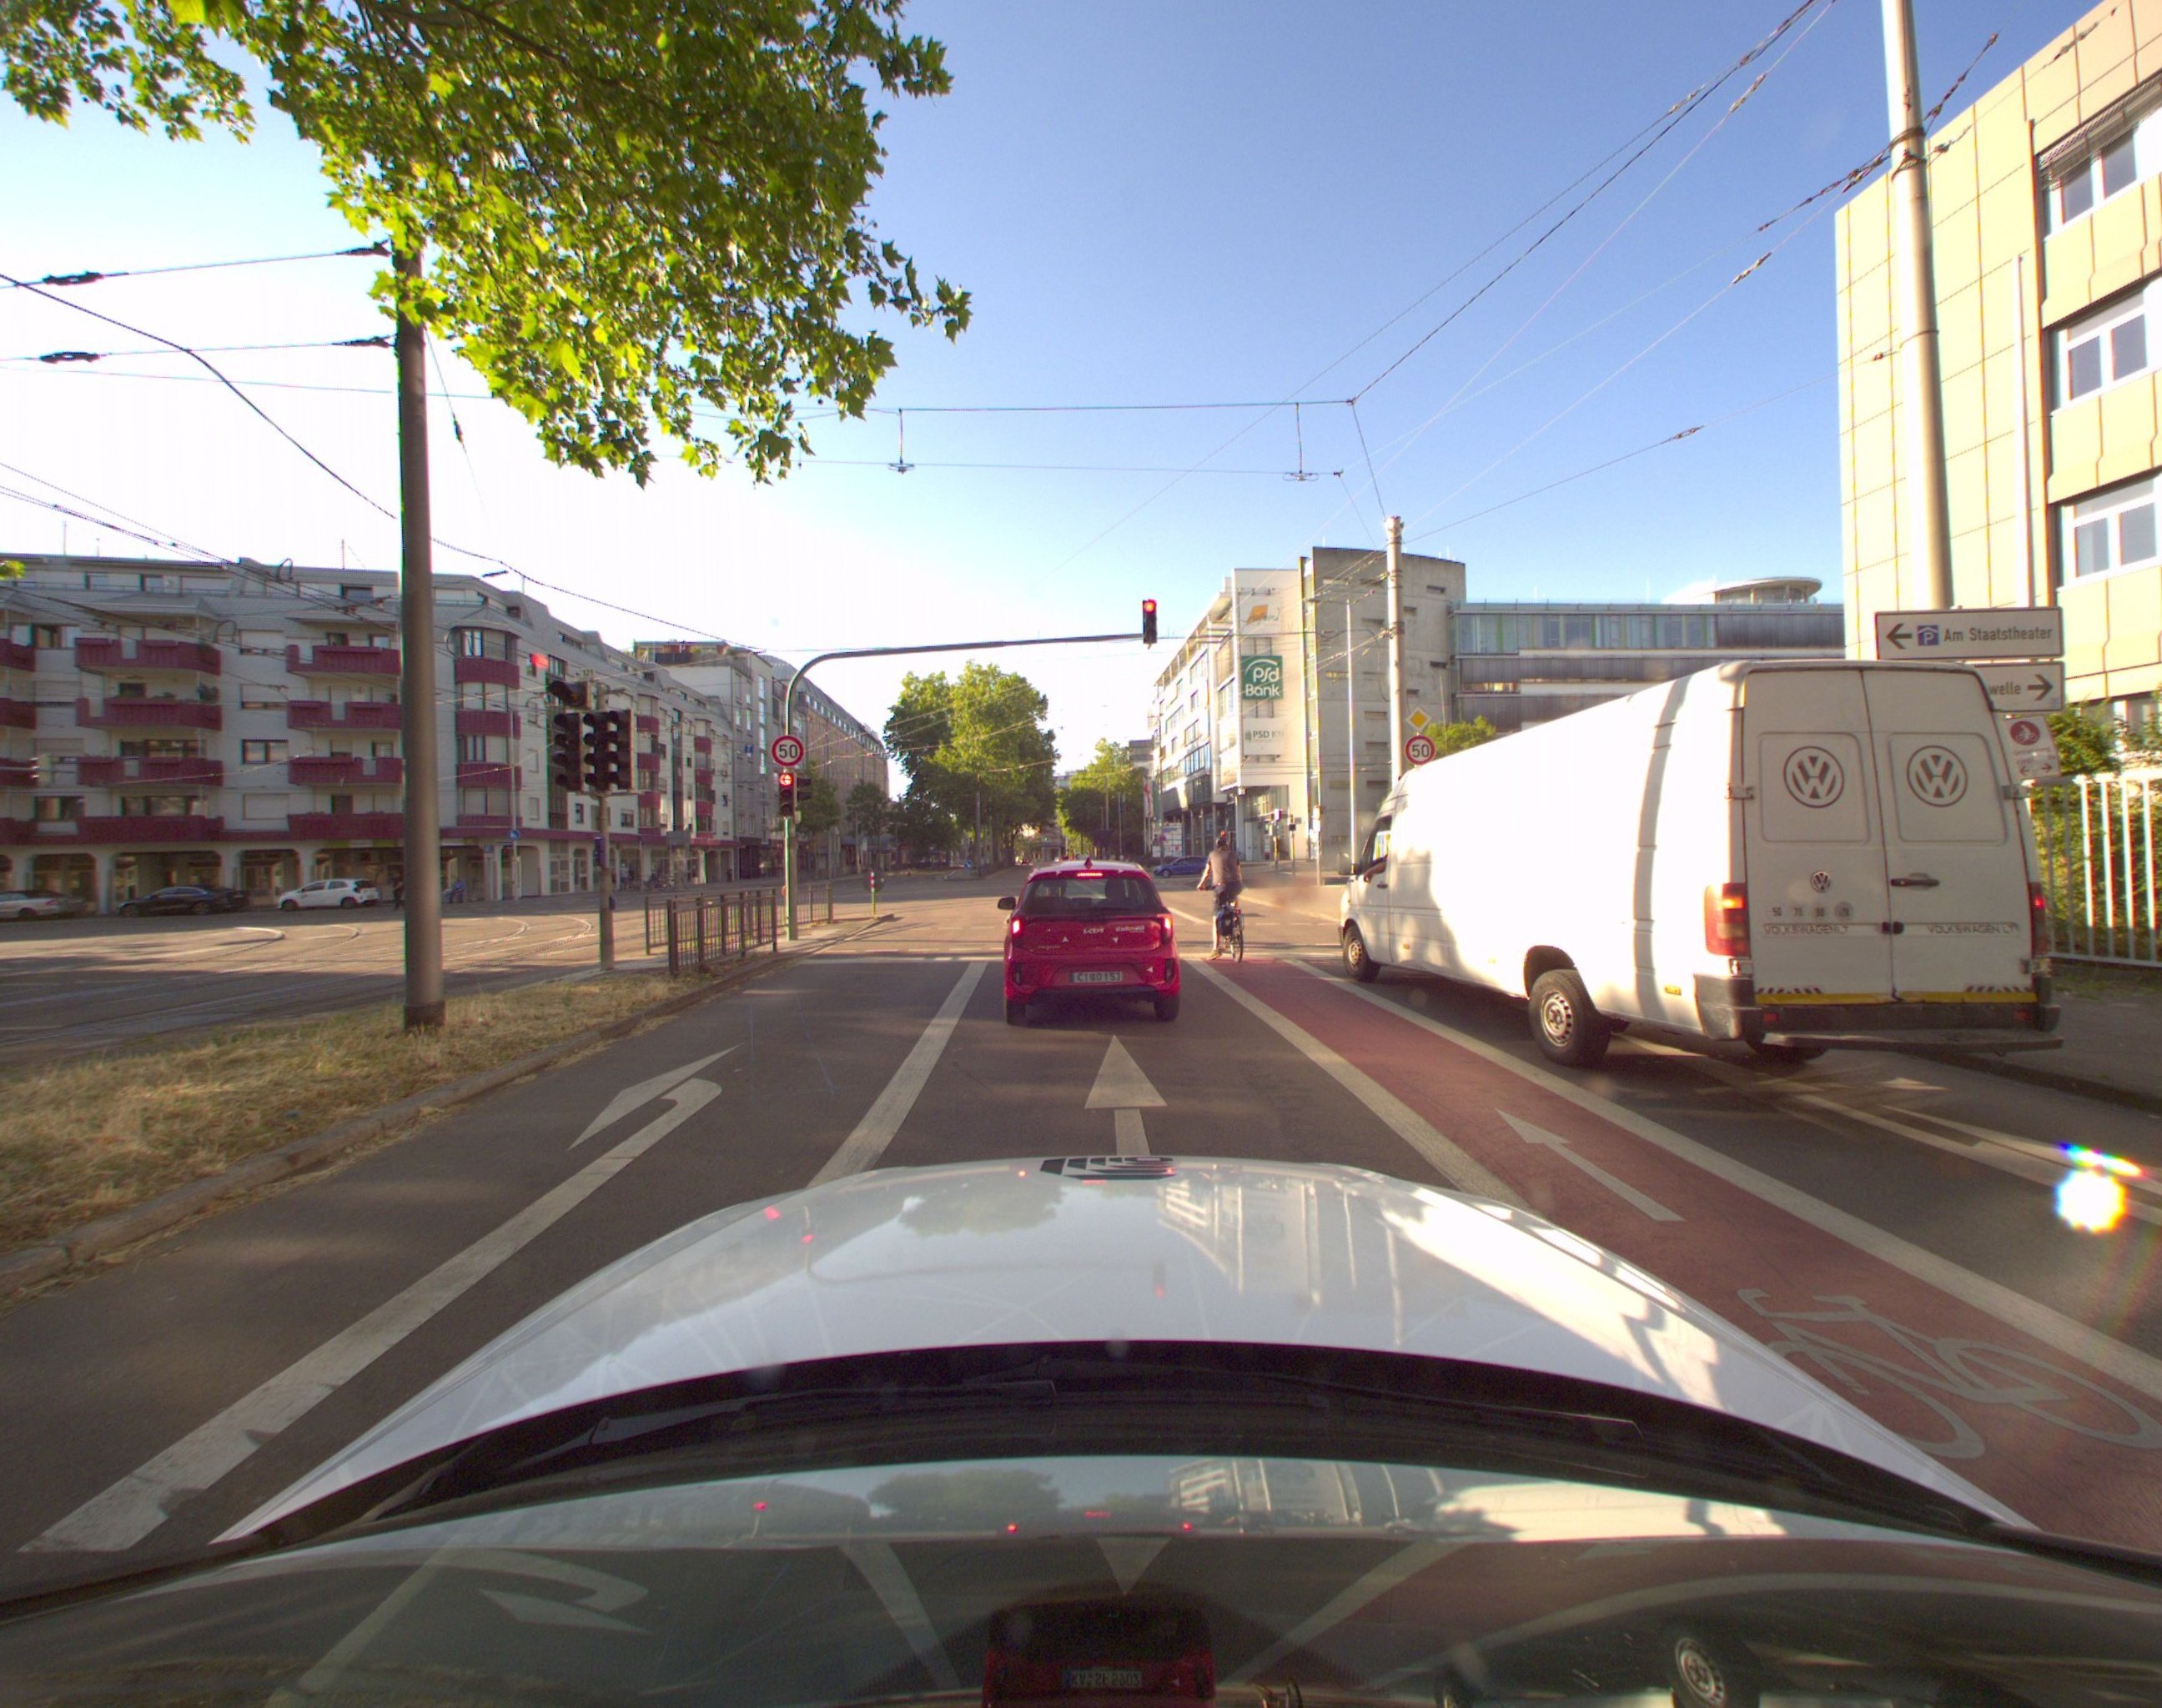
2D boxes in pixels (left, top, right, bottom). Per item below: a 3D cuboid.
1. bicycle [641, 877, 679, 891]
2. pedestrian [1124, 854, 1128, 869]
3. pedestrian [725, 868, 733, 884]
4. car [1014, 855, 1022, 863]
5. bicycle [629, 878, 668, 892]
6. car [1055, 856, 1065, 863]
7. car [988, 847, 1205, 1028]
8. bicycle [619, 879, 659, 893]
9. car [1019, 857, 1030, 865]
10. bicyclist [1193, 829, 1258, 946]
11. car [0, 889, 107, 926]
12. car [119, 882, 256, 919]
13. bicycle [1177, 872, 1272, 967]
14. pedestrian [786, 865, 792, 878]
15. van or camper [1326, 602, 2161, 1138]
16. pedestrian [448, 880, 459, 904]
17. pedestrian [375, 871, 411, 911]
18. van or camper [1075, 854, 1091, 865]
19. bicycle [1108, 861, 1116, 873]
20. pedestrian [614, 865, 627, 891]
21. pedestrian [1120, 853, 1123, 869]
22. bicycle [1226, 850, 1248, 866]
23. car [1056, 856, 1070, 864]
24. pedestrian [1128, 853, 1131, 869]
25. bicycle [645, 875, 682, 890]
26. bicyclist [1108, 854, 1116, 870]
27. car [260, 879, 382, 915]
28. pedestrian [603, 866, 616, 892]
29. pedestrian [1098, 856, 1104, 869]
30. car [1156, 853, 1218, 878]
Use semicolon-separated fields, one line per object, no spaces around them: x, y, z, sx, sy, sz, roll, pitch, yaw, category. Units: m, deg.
-28.204;2.013;54.600;2.167;0.824;0.526;-2;0;-7;bicycle
4.601;0.747;82.690;0.293;1.562;0.356;-2;0;-1;pedestrian
-31.337;1.949;72.494;0.510;1.459;0.526;-2;0;-9;pedestrian
-18.555;1.448;239.526;1.986;2.013;4.002;-2;0;2;car
-28.260;2.039;53.236;2.167;0.787;0.491;-2;0;-7;bicycle
-4.659;1.267;182.558;1.883;1.528;4.422;-2;0;-6;car
0.044;0.714;8.877;1.835;1.489;3.712;-2;0;-3;car
-28.468;2.038;52.459;2.167;0.787;0.639;-2;0;-7;bicycle
-12.361;1.496;177.685;2.056;1.654;3.482;-2;0;-9;car
2.114;0.476;12.007;0.743;1.669;0.742;0;0;-10;bicyclist
-48.524;2.483;37.606;4.263;1.464;1.793;-3;0;-14;car
-42.548;2.178;38.900;3.995;1.464;1.792;-3;0;-16;car
2.086;0.919;12.166;0.743;1.224;2.149;0;0;-9;bicycle
-32.638;1.966;91.108;0.509;1.459;0.527;-2;0;-6;pedestrian
4.438;0.092;7.388;2.263;2.733;6.340;1;0;-3;van or camper
-32.733;1.983;42.462;0.303;1.214;0.317;-2;0;-9;pedestrian
-29.855;1.613;35.357;0.708;1.662;1.031;-2;0;-8;pedestrian
0.334;0.915;134.263;2.143;1.750;4.421;-2;0;-6;van or camper
3.199;1.358;83.867;0.789;1.161;2.501;-2;0;2;bicycle
-30.570;1.612;54.101;0.509;1.699;0.527;-2;0;-6;pedestrian
4.093;0.704;82.341;0.293;1.562;0.302;-2;0;2;pedestrian
14.691;0.365;76.899;1.931;1.443;0.574;-2;0;-5;bicycle
-3.742;1.310;168.490;2.474;1.528;4.423;-3;0;-5;car
4.944;0.694;82.728;0.292;1.562;0.315;-2;0;6;pedestrian
-28.290;1.930;55.238;2.167;0.951;0.491;-2;0;-7;bicycle
3.194;0.811;84.135;0.782;1.635;0.639;-2;0;1;bicyclist
-37.494;2.098;40.285;3.995;1.464;1.792;-3;0;-16;car
-31.187;1.647;53.858;0.509;1.699;0.527;-2;0;-6;pedestrian
2.738;1.146;112.086;0.740;1.716;0.748;-2;0;-1;pedestrian
7.471;0.786;57.610;4.238;1.568;1.853;-2;0;6;car
